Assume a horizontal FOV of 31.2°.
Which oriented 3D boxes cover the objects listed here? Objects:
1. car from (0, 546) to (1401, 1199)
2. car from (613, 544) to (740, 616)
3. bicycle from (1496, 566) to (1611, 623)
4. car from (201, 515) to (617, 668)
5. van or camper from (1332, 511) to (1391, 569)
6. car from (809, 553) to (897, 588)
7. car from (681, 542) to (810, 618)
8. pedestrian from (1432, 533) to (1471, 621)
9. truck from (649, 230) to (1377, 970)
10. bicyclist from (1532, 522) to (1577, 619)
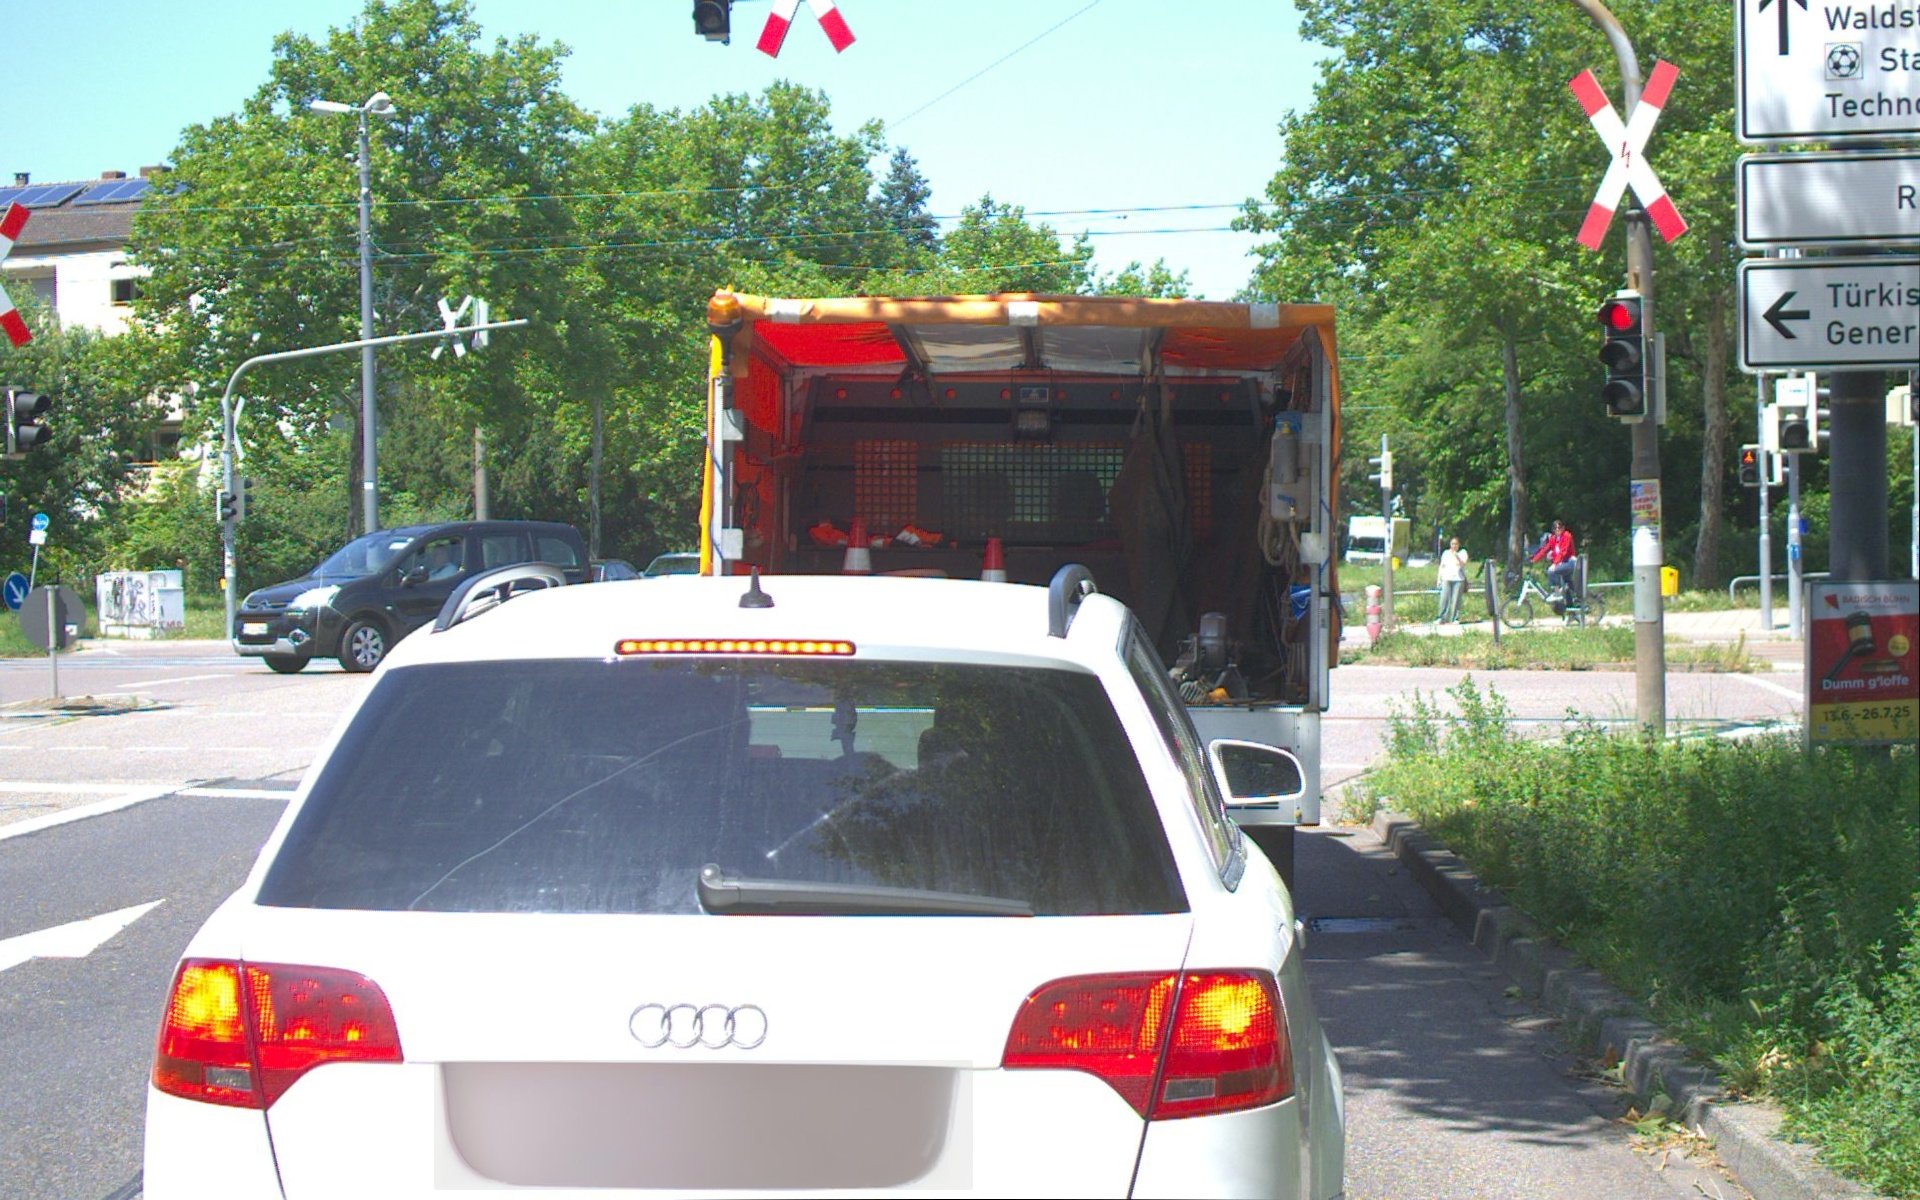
[{"bbox_3d":[-0.244,0.636,5.963,1.763,1.440,3.615,0,1,4],"label":"car"},{"bbox_3d":[-6.638,-0.482,80.869,1.788,1.609,4.402,-1,1,12],"label":"car"},{"bbox_3d":[9.621,-0.088,55.796,1.806,0.892,0.589,-1,1,7],"label":"bicycle"},{"bbox_3d":[-6.424,-0.137,40.326,4.431,1.673,1.917,-2,1,-39],"label":"car"},{"bbox_3d":[23.372,-3.491,199.794,2.662,3.320,5.497,0,1,14],"label":"van or camper"},{"bbox_3d":[-4.306,-1.204,139.206,1.884,1.388,3.994,0,1,26],"label":"car"},{"bbox_3d":[-4.581,-0.456,74.118,1.909,1.533,4.297,-1,1,8],"label":"car"},{"bbox_3d":[8.351,-0.393,58.409,0.553,1.479,0.629,-1,1,16],"label":"pedestrian"},{"bbox_3d":[0.349,-0.048,15.806,2.511,2.551,7.603,1,1,3],"label":"truck"},{"bbox_3d":[9.644,-0.480,55.785,0.671,1.551,0.579,-1,1,8],"label":"bicyclist"}]
